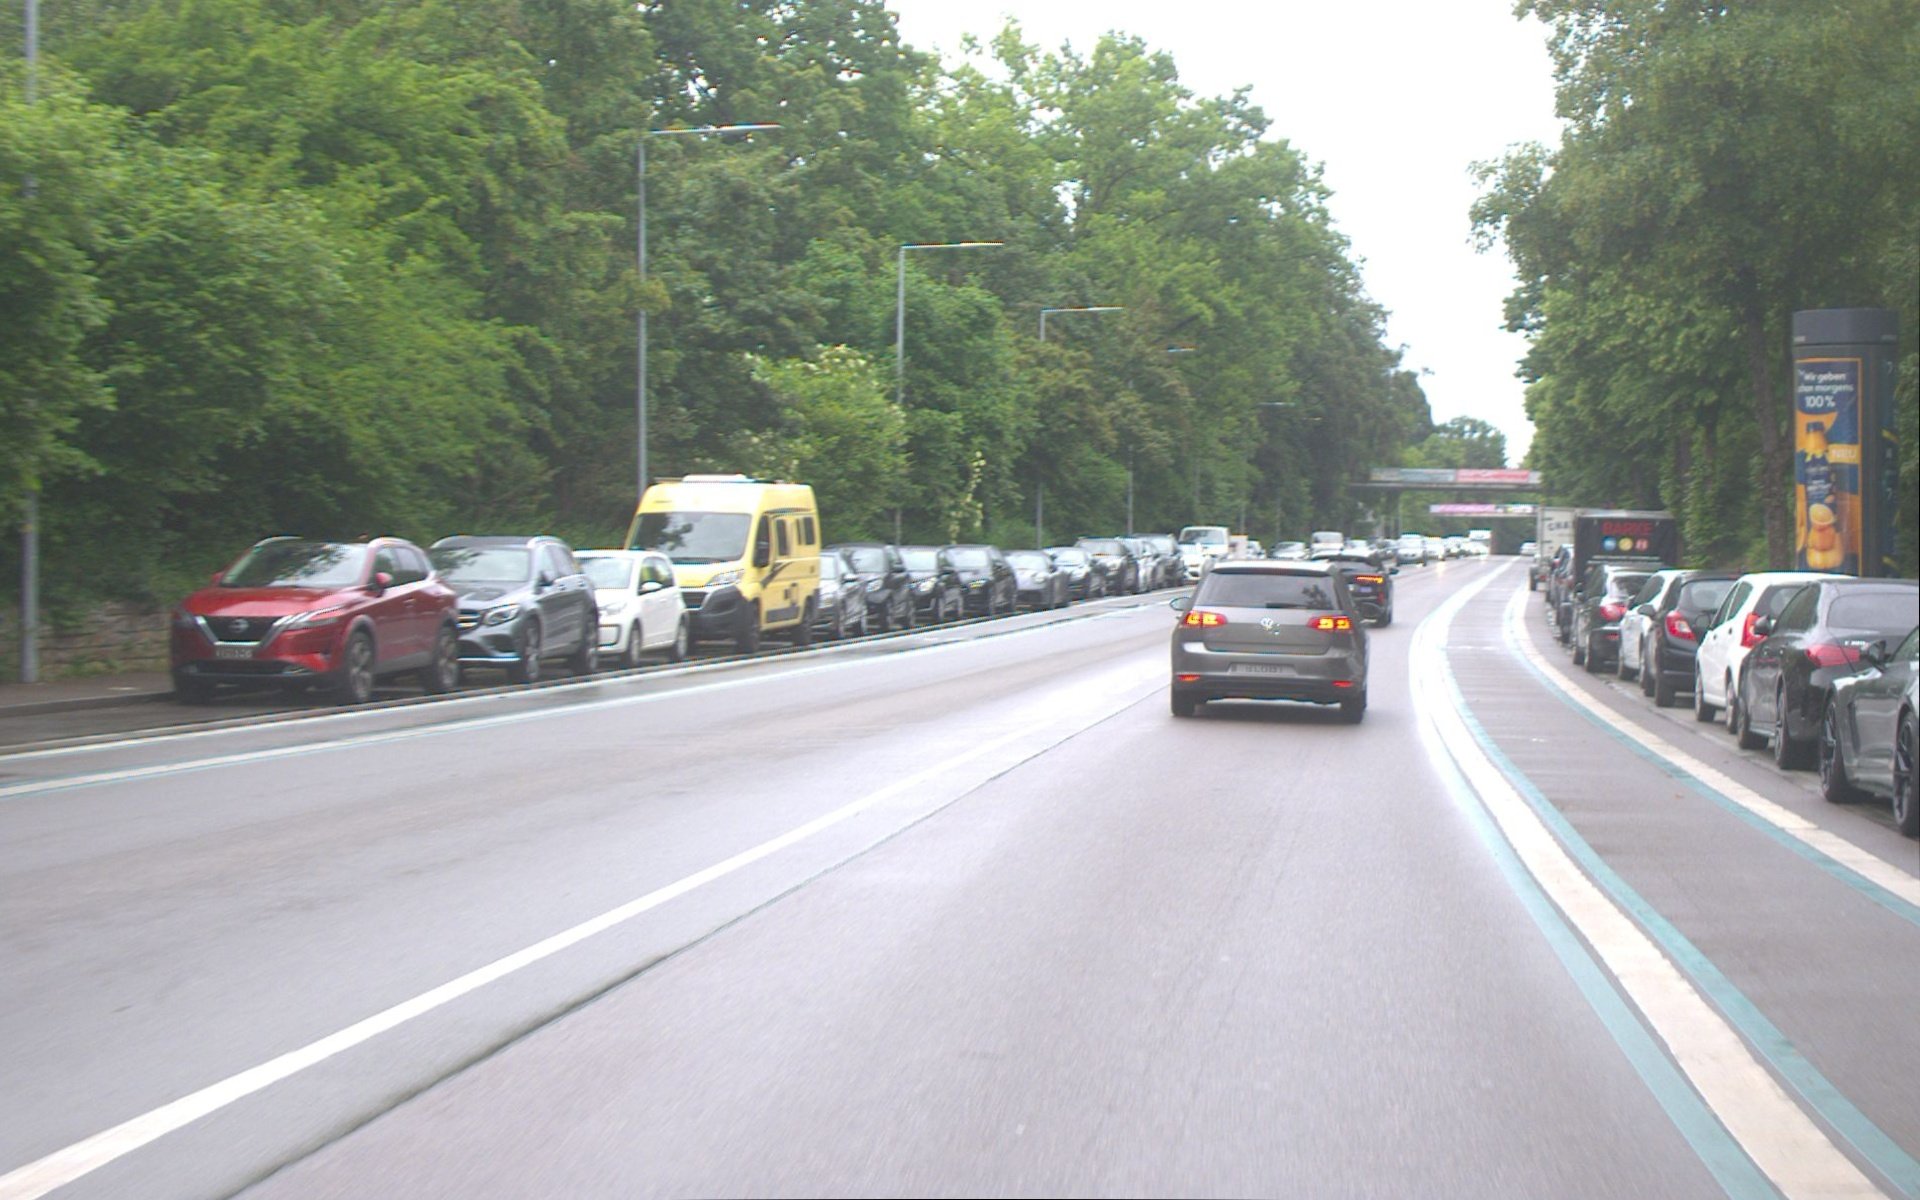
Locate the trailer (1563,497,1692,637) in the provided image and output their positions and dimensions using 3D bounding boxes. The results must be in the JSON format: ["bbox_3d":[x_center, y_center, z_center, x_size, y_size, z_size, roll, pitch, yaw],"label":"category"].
[{"bbox_3d":[11.292,-0.595,58.375,1.907,2.240,4.766,1,2,9],"label":"trailer"}]

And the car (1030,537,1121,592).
[{"bbox_3d":[2.883,-0.900,85.305,1.697,1.296,4.191,1,1,9],"label":"car"}]

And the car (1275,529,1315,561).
[{"bbox_3d":[16.454,-2.698,168.738,1.673,1.508,3.629,2,2,9],"label":"car"}]

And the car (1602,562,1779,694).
[{"bbox_3d":[9.035,0.310,42.766,1.618,1.461,3.999,2,1,5],"label":"car"}]

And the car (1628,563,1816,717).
[{"bbox_3d":[8.270,0.391,37.550,1.659,1.460,3.899,3,2,9],"label":"car"}]

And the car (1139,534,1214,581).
[{"bbox_3d":[7.223,-1.431,114.173,1.994,1.483,4.467,1,1,10],"label":"car"}]

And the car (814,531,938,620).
[{"bbox_3d":[-1.480,-0.460,61.657,1.603,1.505,3.137,1,2,10],"label":"car"}]

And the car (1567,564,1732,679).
[{"bbox_3d":[9.452,0.257,47.425,1.752,1.388,4.445,3,1,6],"label":"car"}]

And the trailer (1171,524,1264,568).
[{"bbox_3d":[9.705,-2.036,129.329,1.629,1.623,3.664,2,2,41],"label":"trailer"}]

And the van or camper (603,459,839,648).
[{"bbox_3d":[-3.453,-0.720,50.993,2.144,2.618,5.680,1,1,10],"label":"van or camper"}]

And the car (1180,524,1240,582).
[{"bbox_3d":[9.075,-1.719,124.447,1.940,2.007,4.739,1,1,7],"label":"car"}]

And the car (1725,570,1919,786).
[{"bbox_3d":[7.140,0.548,26.754,1.857,1.450,4.750,2,1,7],"label":"car"}]

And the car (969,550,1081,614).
[{"bbox_3d":[1.467,-0.418,76.069,1.870,1.299,4.469,1,1,9],"label":"car"}]

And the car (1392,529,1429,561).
[{"bbox_3d":[24.624,-2.987,187.853,1.823,1.700,3.855,2,1,10],"label":"car"}]

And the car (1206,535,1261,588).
[{"bbox_3d":[10.753,-1.527,134.829,1.940,2.007,4.739,1,1,7],"label":"car"}]

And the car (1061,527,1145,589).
[{"bbox_3d":[3.784,-1.121,90.279,1.697,1.578,4.137,1,1,9],"label":"car"}]

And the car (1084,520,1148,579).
[{"bbox_3d":[4.309,-1.408,94.746,1.461,1.566,2.983,1,1,8],"label":"car"}]

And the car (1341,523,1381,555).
[{"bbox_3d":[25.388,-3.873,217.342,2.160,2.007,5.029,1,1,10],"label":"car"}]

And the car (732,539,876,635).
[{"bbox_3d":[-2.514,-0.248,56.270,1.680,1.493,4.148,0,1,7],"label":"car"}]

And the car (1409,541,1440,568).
[{"bbox_3d":[30.210,-2.962,223.462,1.823,1.700,3.855,2,1,10],"label":"car"}]

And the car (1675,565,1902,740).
[{"bbox_3d":[7.706,0.445,32.241,1.560,1.455,3.675,2,1,6],"label":"car"}]

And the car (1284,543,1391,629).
[{"bbox_3d":[7.155,-0.293,65.200,1.881,1.461,3.999,3,2,6],"label":"car"}]

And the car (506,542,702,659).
[{"bbox_3d":[-4.575,-0.024,44.654,1.618,1.443,3.655,0,1,10],"label":"car"}]

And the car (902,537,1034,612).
[{"bbox_3d":[0.199,-0.549,71.101,1.994,1.447,4.137,1,2,11],"label":"car"}]

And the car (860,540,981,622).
[{"bbox_3d":[-0.747,-0.393,66.958,1.603,1.505,3.975,1,2,10],"label":"car"}]

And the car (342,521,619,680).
[{"bbox_3d":[-5.454,-0.049,39.732,1.994,1.694,4.614,1,1,8],"label":"car"}]

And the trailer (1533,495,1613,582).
[{"bbox_3d":[18.579,-1.879,104.339,2.132,2.551,4.296,1,1,7],"label":"trailer"}]

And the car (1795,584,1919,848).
[{"bbox_3d":[6.323,0.661,20.577,1.853,1.394,4.385,2,1,5],"label":"car"}]

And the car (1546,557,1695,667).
[{"bbox_3d":[10.044,0.153,52.549,1.822,1.480,4.199,3,2,6],"label":"car"}]

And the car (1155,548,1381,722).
[{"bbox_3d":[2.811,0.299,32.152,1.871,1.436,4.296,3,0,3],"label":"car"}]

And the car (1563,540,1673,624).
[{"bbox_3d":[12.151,-0.364,63.700,1.796,1.445,4.427,1,1,8],"label":"car"}]

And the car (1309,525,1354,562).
[{"bbox_3d":[20.860,-3.163,192.862,2.160,2.007,5.029,1,1,10],"label":"car"}]

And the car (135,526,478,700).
[{"bbox_3d":[-6.427,0.082,34.331,1.920,1.611,4.488,0,1,10],"label":"car"}]
